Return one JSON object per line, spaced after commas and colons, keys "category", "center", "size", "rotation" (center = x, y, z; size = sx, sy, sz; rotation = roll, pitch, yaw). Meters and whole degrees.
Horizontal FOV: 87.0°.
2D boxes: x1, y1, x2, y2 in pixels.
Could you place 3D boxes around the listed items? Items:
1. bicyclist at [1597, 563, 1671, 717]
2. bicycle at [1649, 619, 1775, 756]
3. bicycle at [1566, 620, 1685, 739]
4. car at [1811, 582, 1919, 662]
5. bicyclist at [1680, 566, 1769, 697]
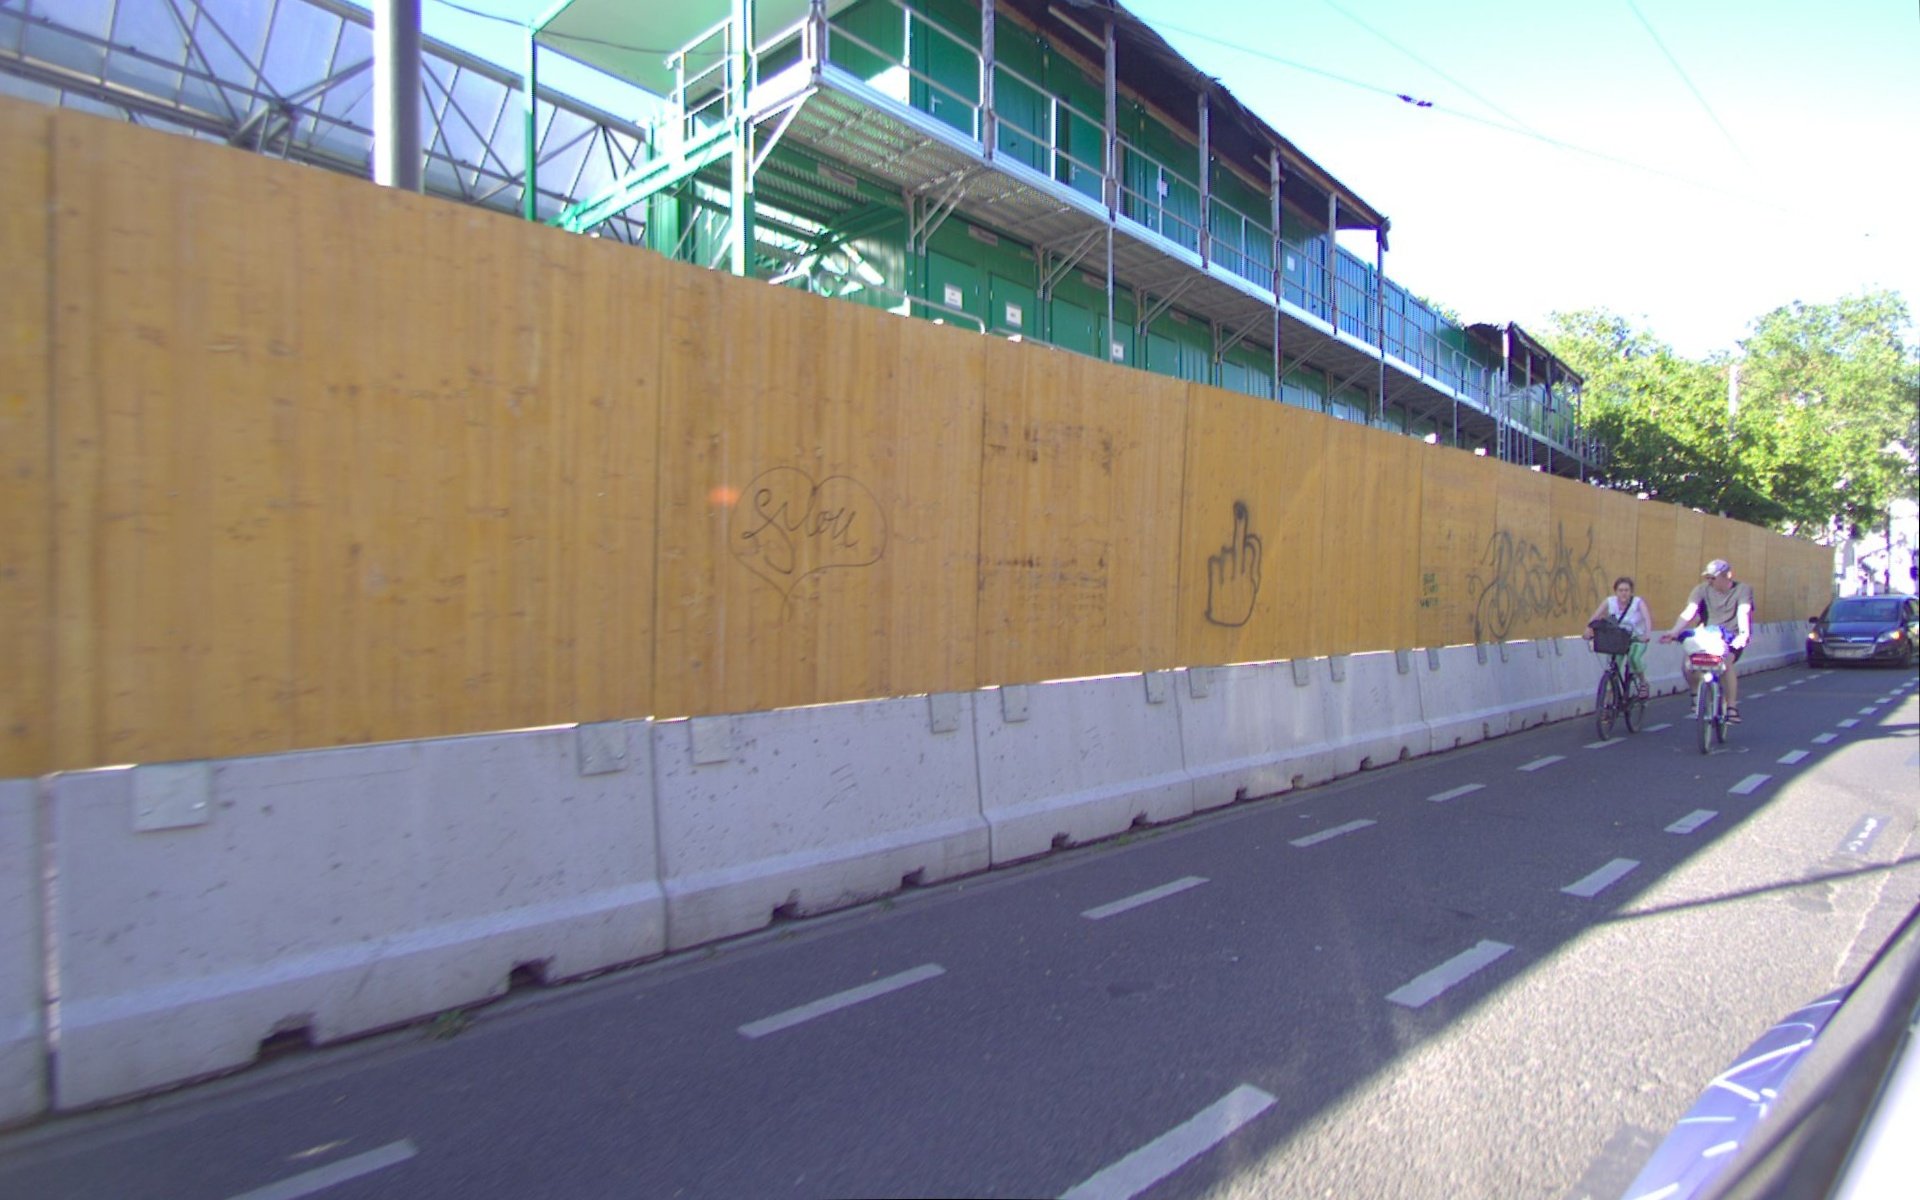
{"category": "bicyclist", "center": [7.428, 0.419, 11.157], "size": [0.567, 1.633, 0.556], "rotation": [0, 0, -44]}
{"category": "bicycle", "center": [7.480, 0.798, 10.017], "size": [0.667, 1.169, 2.239], "rotation": [-2, -1, 45]}
{"category": "bicycle", "center": [7.274, 0.806, 11.011], "size": [2.237, 1.141, 0.558], "rotation": [0, -1, -43]}
{"category": "car", "center": [20.791, 0.452, 22.711], "size": [4.094, 1.643, 1.749], "rotation": [0, -1, -38]}
{"category": "bicyclist", "center": [7.591, 0.294, 10.054], "size": [0.348, 1.253, 0.652], "rotation": [0, 0, -44]}
